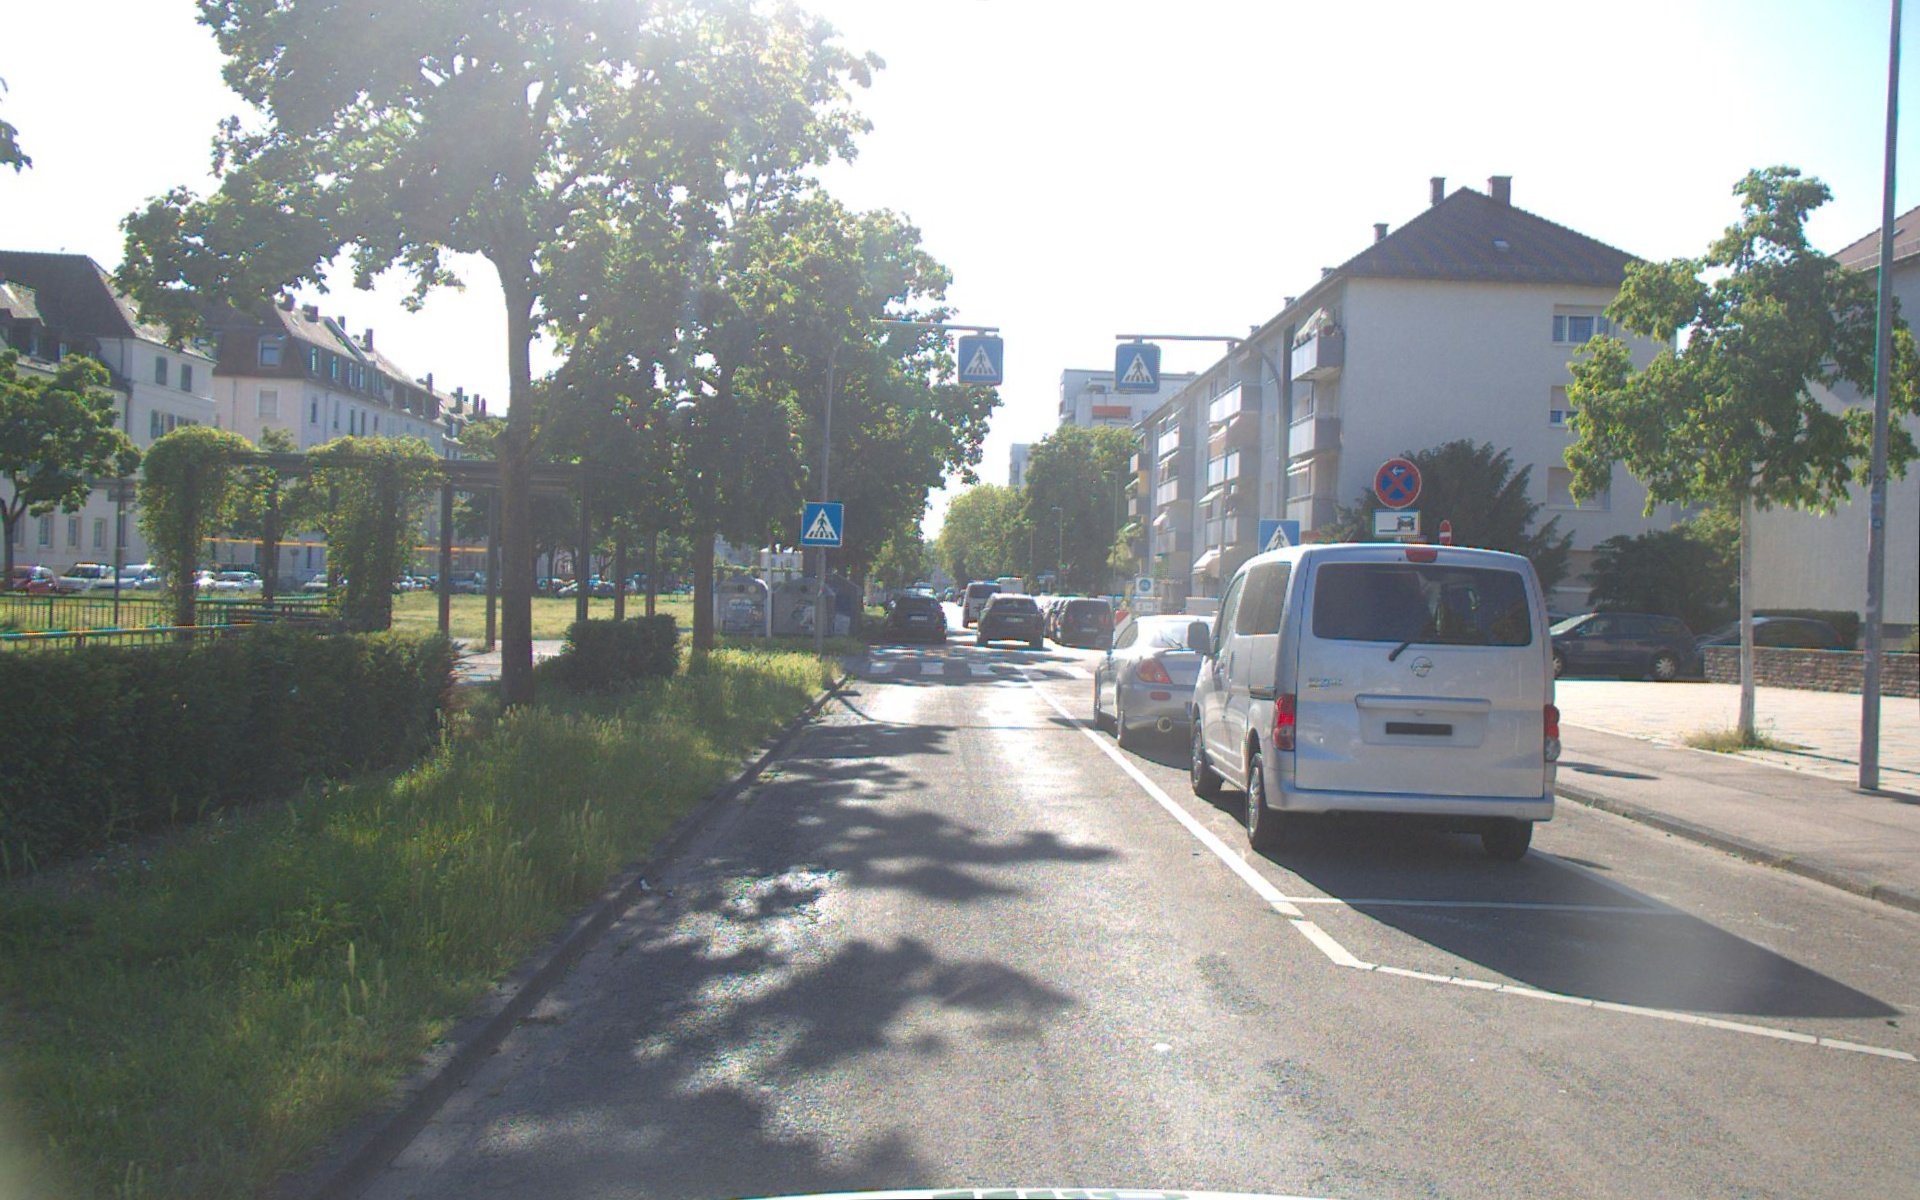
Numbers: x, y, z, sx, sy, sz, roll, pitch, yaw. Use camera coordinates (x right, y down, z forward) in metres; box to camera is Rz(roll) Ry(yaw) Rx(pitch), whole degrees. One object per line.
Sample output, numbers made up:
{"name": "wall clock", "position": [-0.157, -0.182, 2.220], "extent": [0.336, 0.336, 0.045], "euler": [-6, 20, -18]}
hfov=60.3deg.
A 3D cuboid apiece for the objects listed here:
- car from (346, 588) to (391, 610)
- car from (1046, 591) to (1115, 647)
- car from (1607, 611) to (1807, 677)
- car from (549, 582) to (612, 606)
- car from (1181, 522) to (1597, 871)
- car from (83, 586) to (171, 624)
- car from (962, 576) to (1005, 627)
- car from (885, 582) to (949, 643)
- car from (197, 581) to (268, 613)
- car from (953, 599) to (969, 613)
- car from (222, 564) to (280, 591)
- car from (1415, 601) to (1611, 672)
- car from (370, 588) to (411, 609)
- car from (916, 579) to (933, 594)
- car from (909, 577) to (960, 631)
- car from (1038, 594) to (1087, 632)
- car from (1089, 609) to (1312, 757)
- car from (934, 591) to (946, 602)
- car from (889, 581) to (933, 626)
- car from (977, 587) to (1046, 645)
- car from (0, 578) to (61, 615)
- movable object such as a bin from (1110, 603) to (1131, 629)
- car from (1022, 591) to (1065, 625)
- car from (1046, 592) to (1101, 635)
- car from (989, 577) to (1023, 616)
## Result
{"name": "car", "position": [-42.857, -0.064, 119.904], "extent": [1.758, 1.536, 4.143], "euler": [2, 0, -1]}
{"name": "car", "position": [3.691, 0.554, 51.139], "extent": [1.758, 1.629, 3.999], "euler": [2, 0, -1]}
{"name": "car", "position": [19.218, 1.130, 42.646], "extent": [4.391, 1.567, 1.798], "euler": [2, -1, -4]}
{"name": "car", "position": [-26.148, -0.440, 114.046], "extent": [3.909, 1.536, 1.798], "euler": [2, 0, -5]}
{"name": "car", "position": [2.703, 0.537, 11.489], "extent": [1.757, 1.887, 4.413], "euler": [2, 0, 1]}
{"name": "car", "position": [-35.764, 0.185, 71.106], "extent": [1.758, 1.536, 3.999], "euler": [2, 0, -1]}
{"name": "car", "position": [1.032, 0.046, 73.487], "extent": [1.758, 2.159, 3.999], "euler": [2, 0, -1]}
{"name": "car", "position": [-1.234, 0.338, 48.919], "extent": [1.758, 1.652, 3.999], "euler": [2, 0, -1]}
{"name": "car", "position": [-36.101, -0.156, 82.169], "extent": [1.758, 1.536, 3.999], "euler": [2, 0, -1]}
{"name": "car", "position": [0.118, 0.706, 196.759], "extent": [1.758, 1.537, 3.999], "euler": [1, 0, -1]}
{"name": "car", "position": [-42.564, -1.315, 99.341], "extent": [1.758, 1.536, 3.999], "euler": [2, 0, -1]}
{"name": "car", "position": [14.110, 0.939, 42.307], "extent": [4.391, 1.651, 1.798], "euler": [2, -2, -4]}
{"name": "car", "position": [-43.032, -0.118, 125.070], "extent": [1.758, 1.536, 3.999], "euler": [2, 0, -1]}
{"name": "car", "position": [-3.729, -1.388, 173.761], "extent": [1.758, 1.537, 3.999], "euler": [1, 0, -1]}
{"name": "car", "position": [-1.021, 0.148, 66.124], "extent": [1.953, 2.049, 3.999], "euler": [1, 0, -1]}
{"name": "car", "position": [4.354, 0.527, 70.763], "extent": [1.758, 1.536, 3.999], "euler": [2, 0, -1]}
{"name": "car", "position": [2.464, 0.810, 17.904], "extent": [1.729, 1.342, 4.167], "euler": [2, 0, -1]}
{"name": "car", "position": [-3.088, -0.536, 253.402], "extent": [1.758, 1.537, 3.999], "euler": [1, 0, -1]}
{"name": "car", "position": [-2.287, 0.133, 78.019], "extent": [1.953, 2.049, 3.999], "euler": [1, 0, -1]}
{"name": "car", "position": [1.420, 0.428, 46.844], "extent": [1.758, 1.536, 3.999], "euler": [2, 0, -1]}
{"name": "car", "position": [-41.138, -0.154, 72.063], "extent": [1.758, 1.536, 3.999], "euler": [2, 0, -1]}
{"name": "movable object such as a bin", "position": [9.685, 0.946, 99.859], "extent": [1.069, 1.536, 2.002], "euler": [2, 0, -1]}
{"name": "car", "position": [3.986, 0.370, 79.378], "extent": [1.758, 1.536, 3.999], "euler": [2, 0, -1]}
{"name": "car", "position": [4.275, 0.489, 62.778], "extent": [1.758, 1.536, 3.999], "euler": [2, 0, -1]}
{"name": "car", "position": [3.028, -0.241, 109.706], "extent": [1.953, 2.472, 4.499], "euler": [3, 0, -1]}
